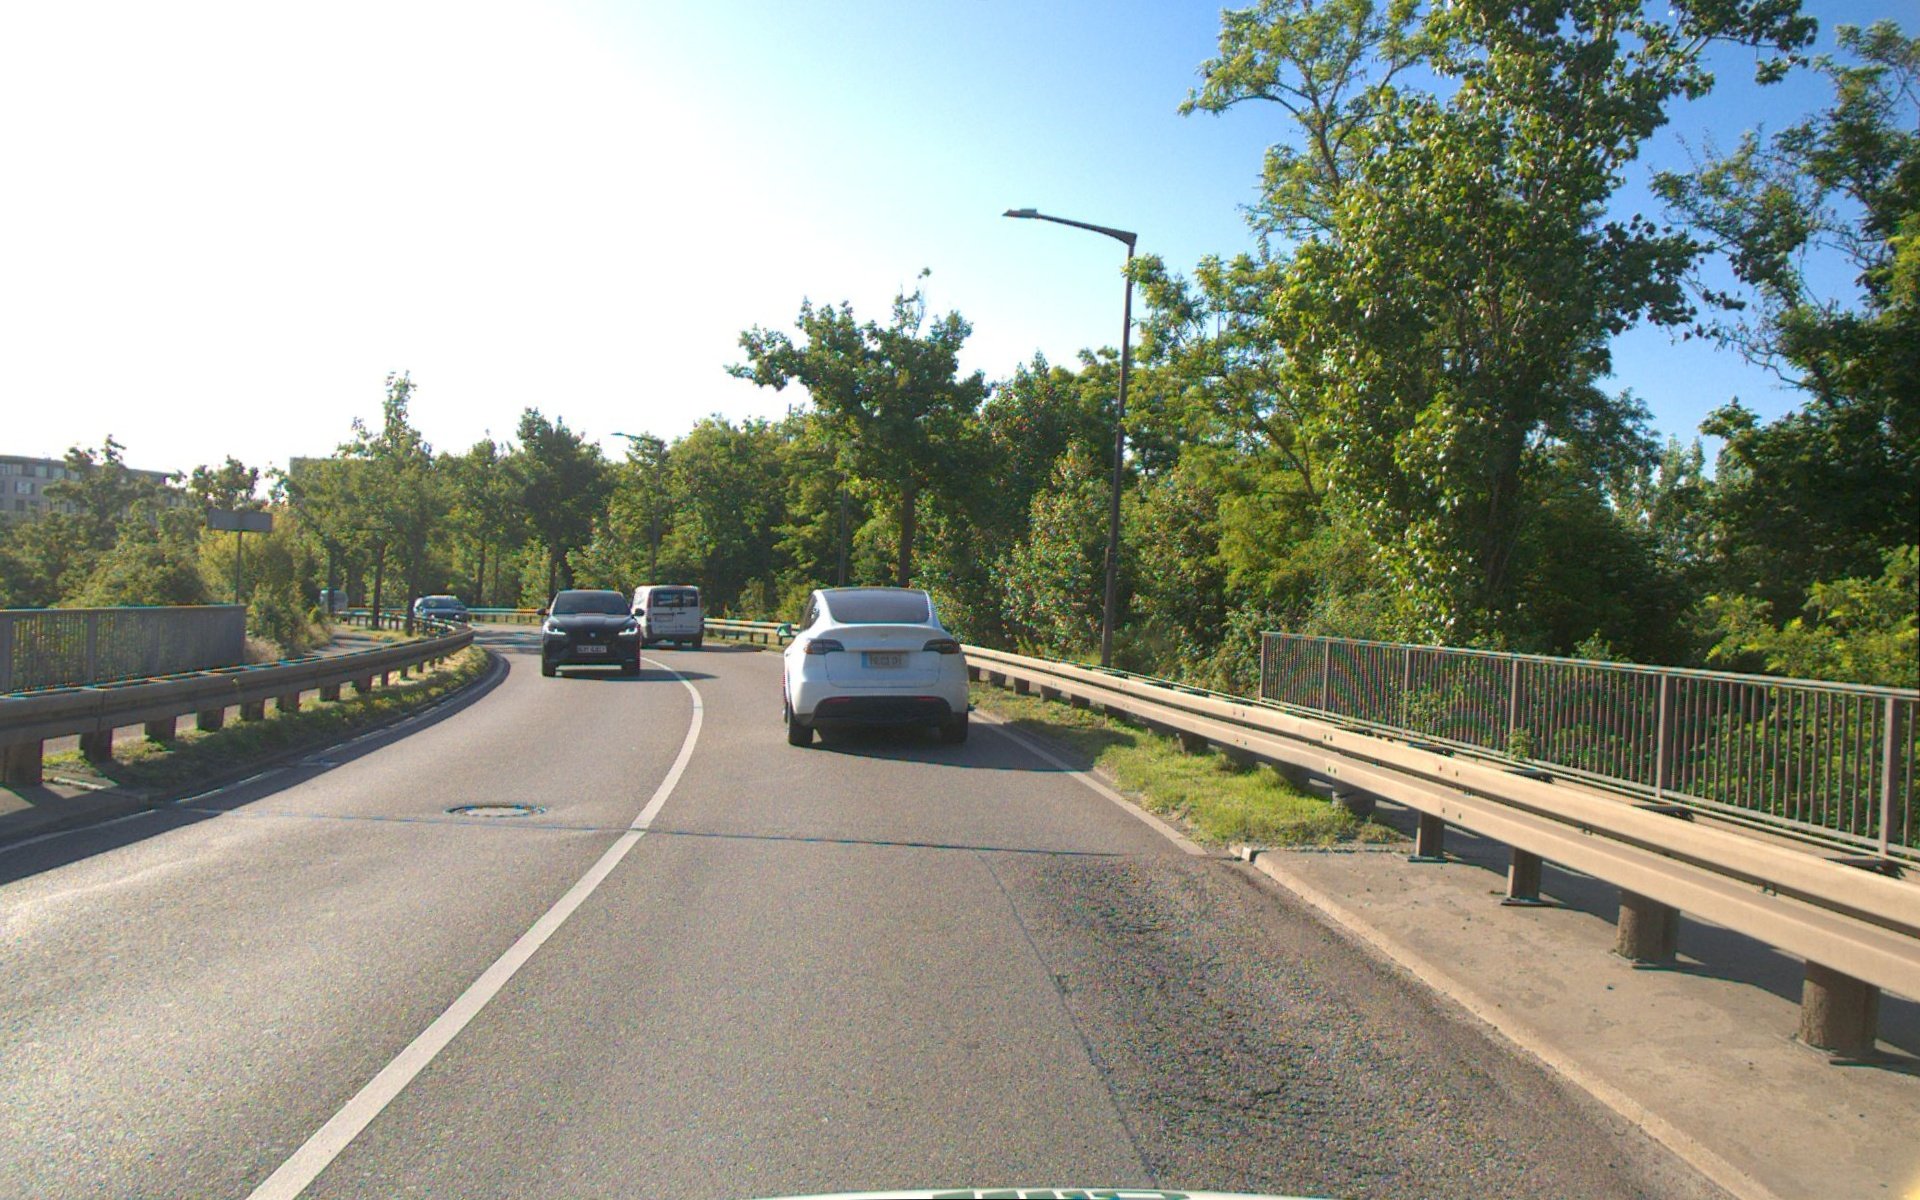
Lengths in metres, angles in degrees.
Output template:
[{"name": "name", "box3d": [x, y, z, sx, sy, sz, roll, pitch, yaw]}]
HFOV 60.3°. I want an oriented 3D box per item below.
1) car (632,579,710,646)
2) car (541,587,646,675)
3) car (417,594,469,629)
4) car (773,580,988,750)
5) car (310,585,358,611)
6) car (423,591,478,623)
[{"name": "car", "box3d": [-8.997, 0.365, 51.186, 1.972, 1.974, 4.449, 0, 0, -15]}, {"name": "car", "box3d": [-7.373, 0.577, 33.645, 1.864, 1.671, 4.453, 0, 0, -10]}, {"name": "car", "box3d": [-22.289, 0.471, 71.172, 1.768, 1.456, 3.799, 0, 0, -23]}, {"name": "car", "box3d": [-1.003, 0.629, 18.345, 1.949, 1.666, 4.054, 0, 0, -9]}, {"name": "car", "box3d": [-39.192, -0.138, 103.465, 1.821, 1.583, 3.843, 0, 0, -37]}, {"name": "car", "box3d": [-26.321, 0.340, 85.372, 1.840, 1.612, 3.874, 0, 0, -31]}]
